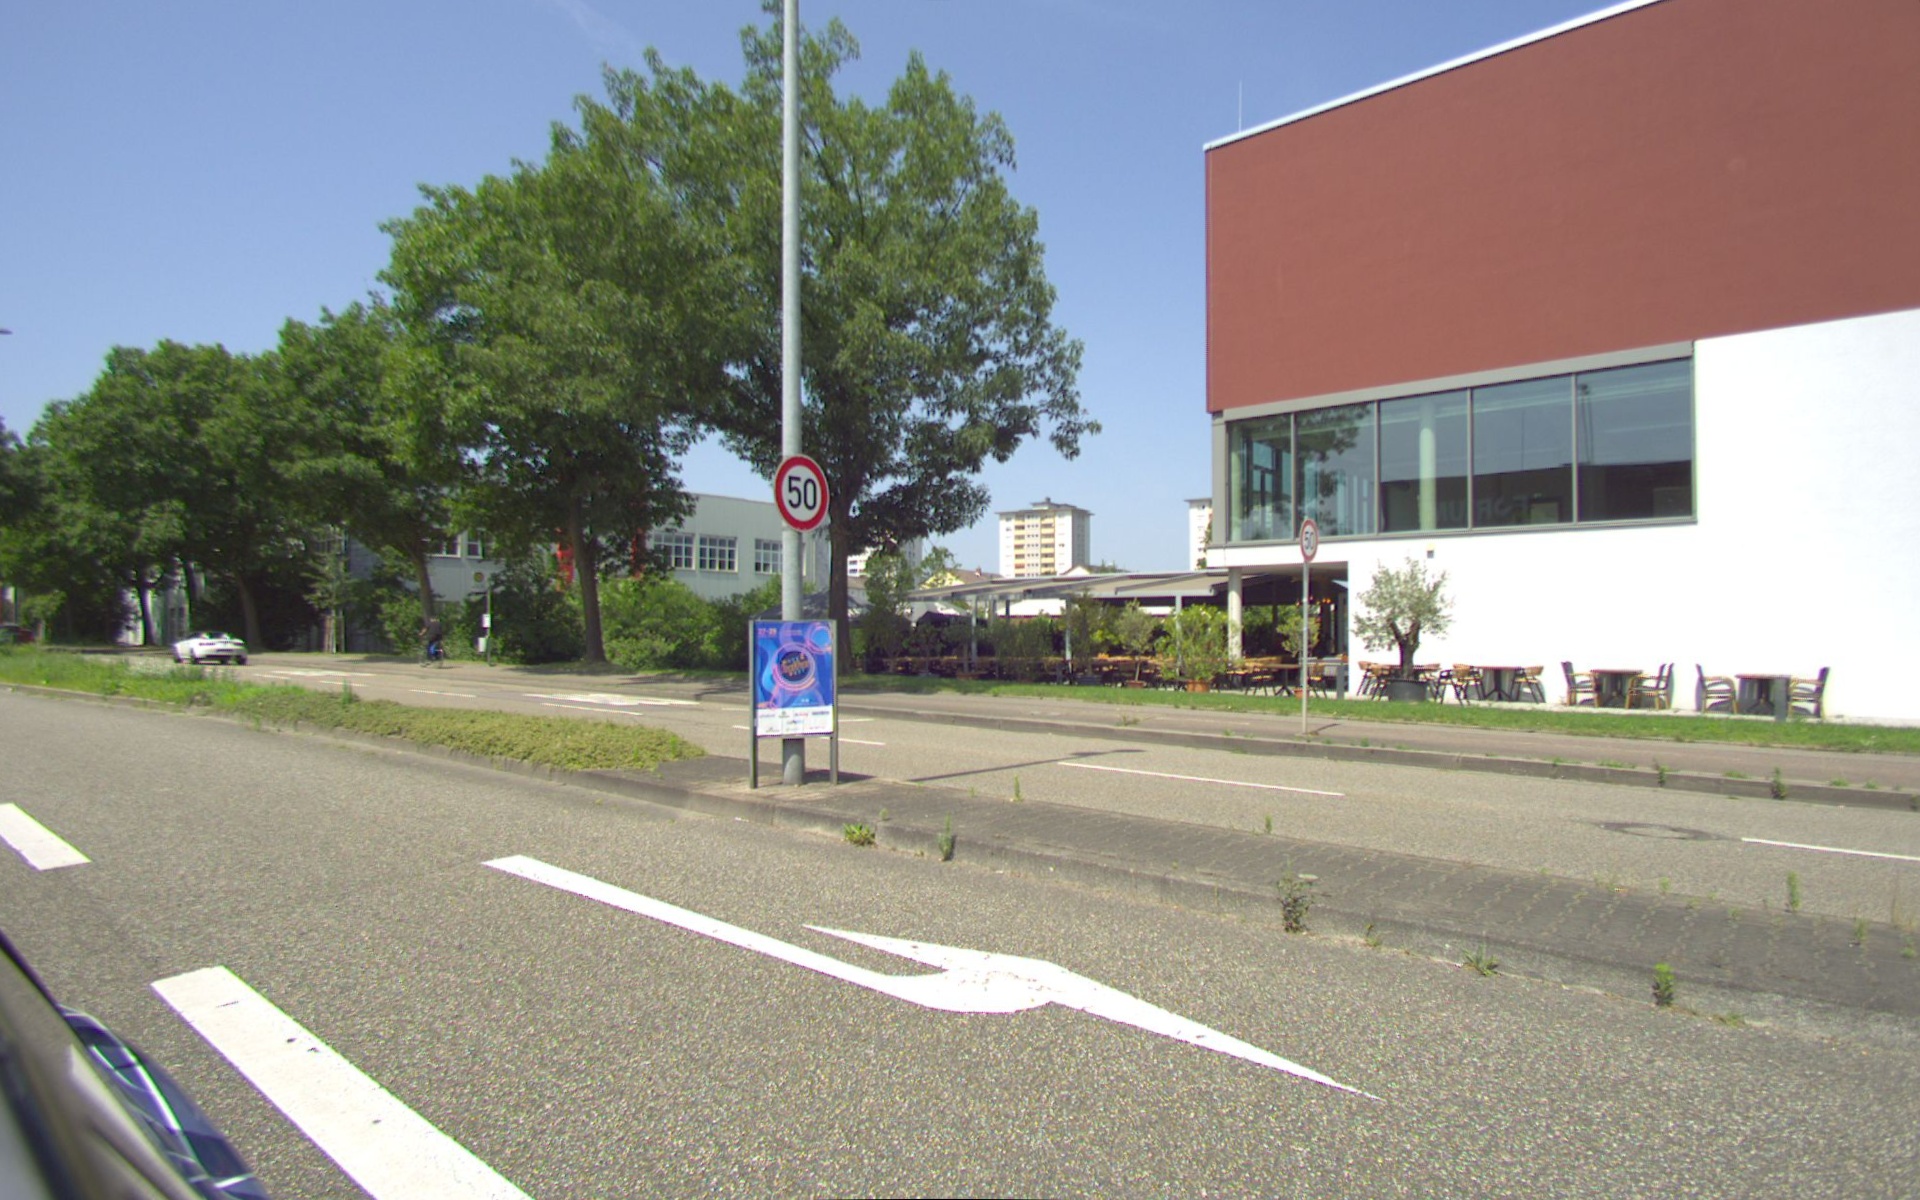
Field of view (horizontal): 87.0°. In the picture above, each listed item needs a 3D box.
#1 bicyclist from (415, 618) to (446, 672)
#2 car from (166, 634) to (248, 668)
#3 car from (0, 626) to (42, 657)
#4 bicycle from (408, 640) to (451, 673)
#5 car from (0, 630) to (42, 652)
[{"bbox_3d":[-18.012,1.517,34.421,0.927,1.783,0.643,-2,-2,41],"label":"bicyclist"},{"bbox_3d":[-30.808,2.082,41.356,4.298,1.272,1.700,-1,-4,40],"label":"car"},{"bbox_3d":[-52.911,2.313,56.621,3.881,1.612,1.670,-1,-5,40],"label":"car"},{"bbox_3d":[-18.058,1.909,34.458,1.883,1.059,0.648,-1,-2,41],"label":"bicycle"},{"bbox_3d":[-66.211,2.891,71.302,3.889,1.464,1.688,-2,-5,41],"label":"car"}]
